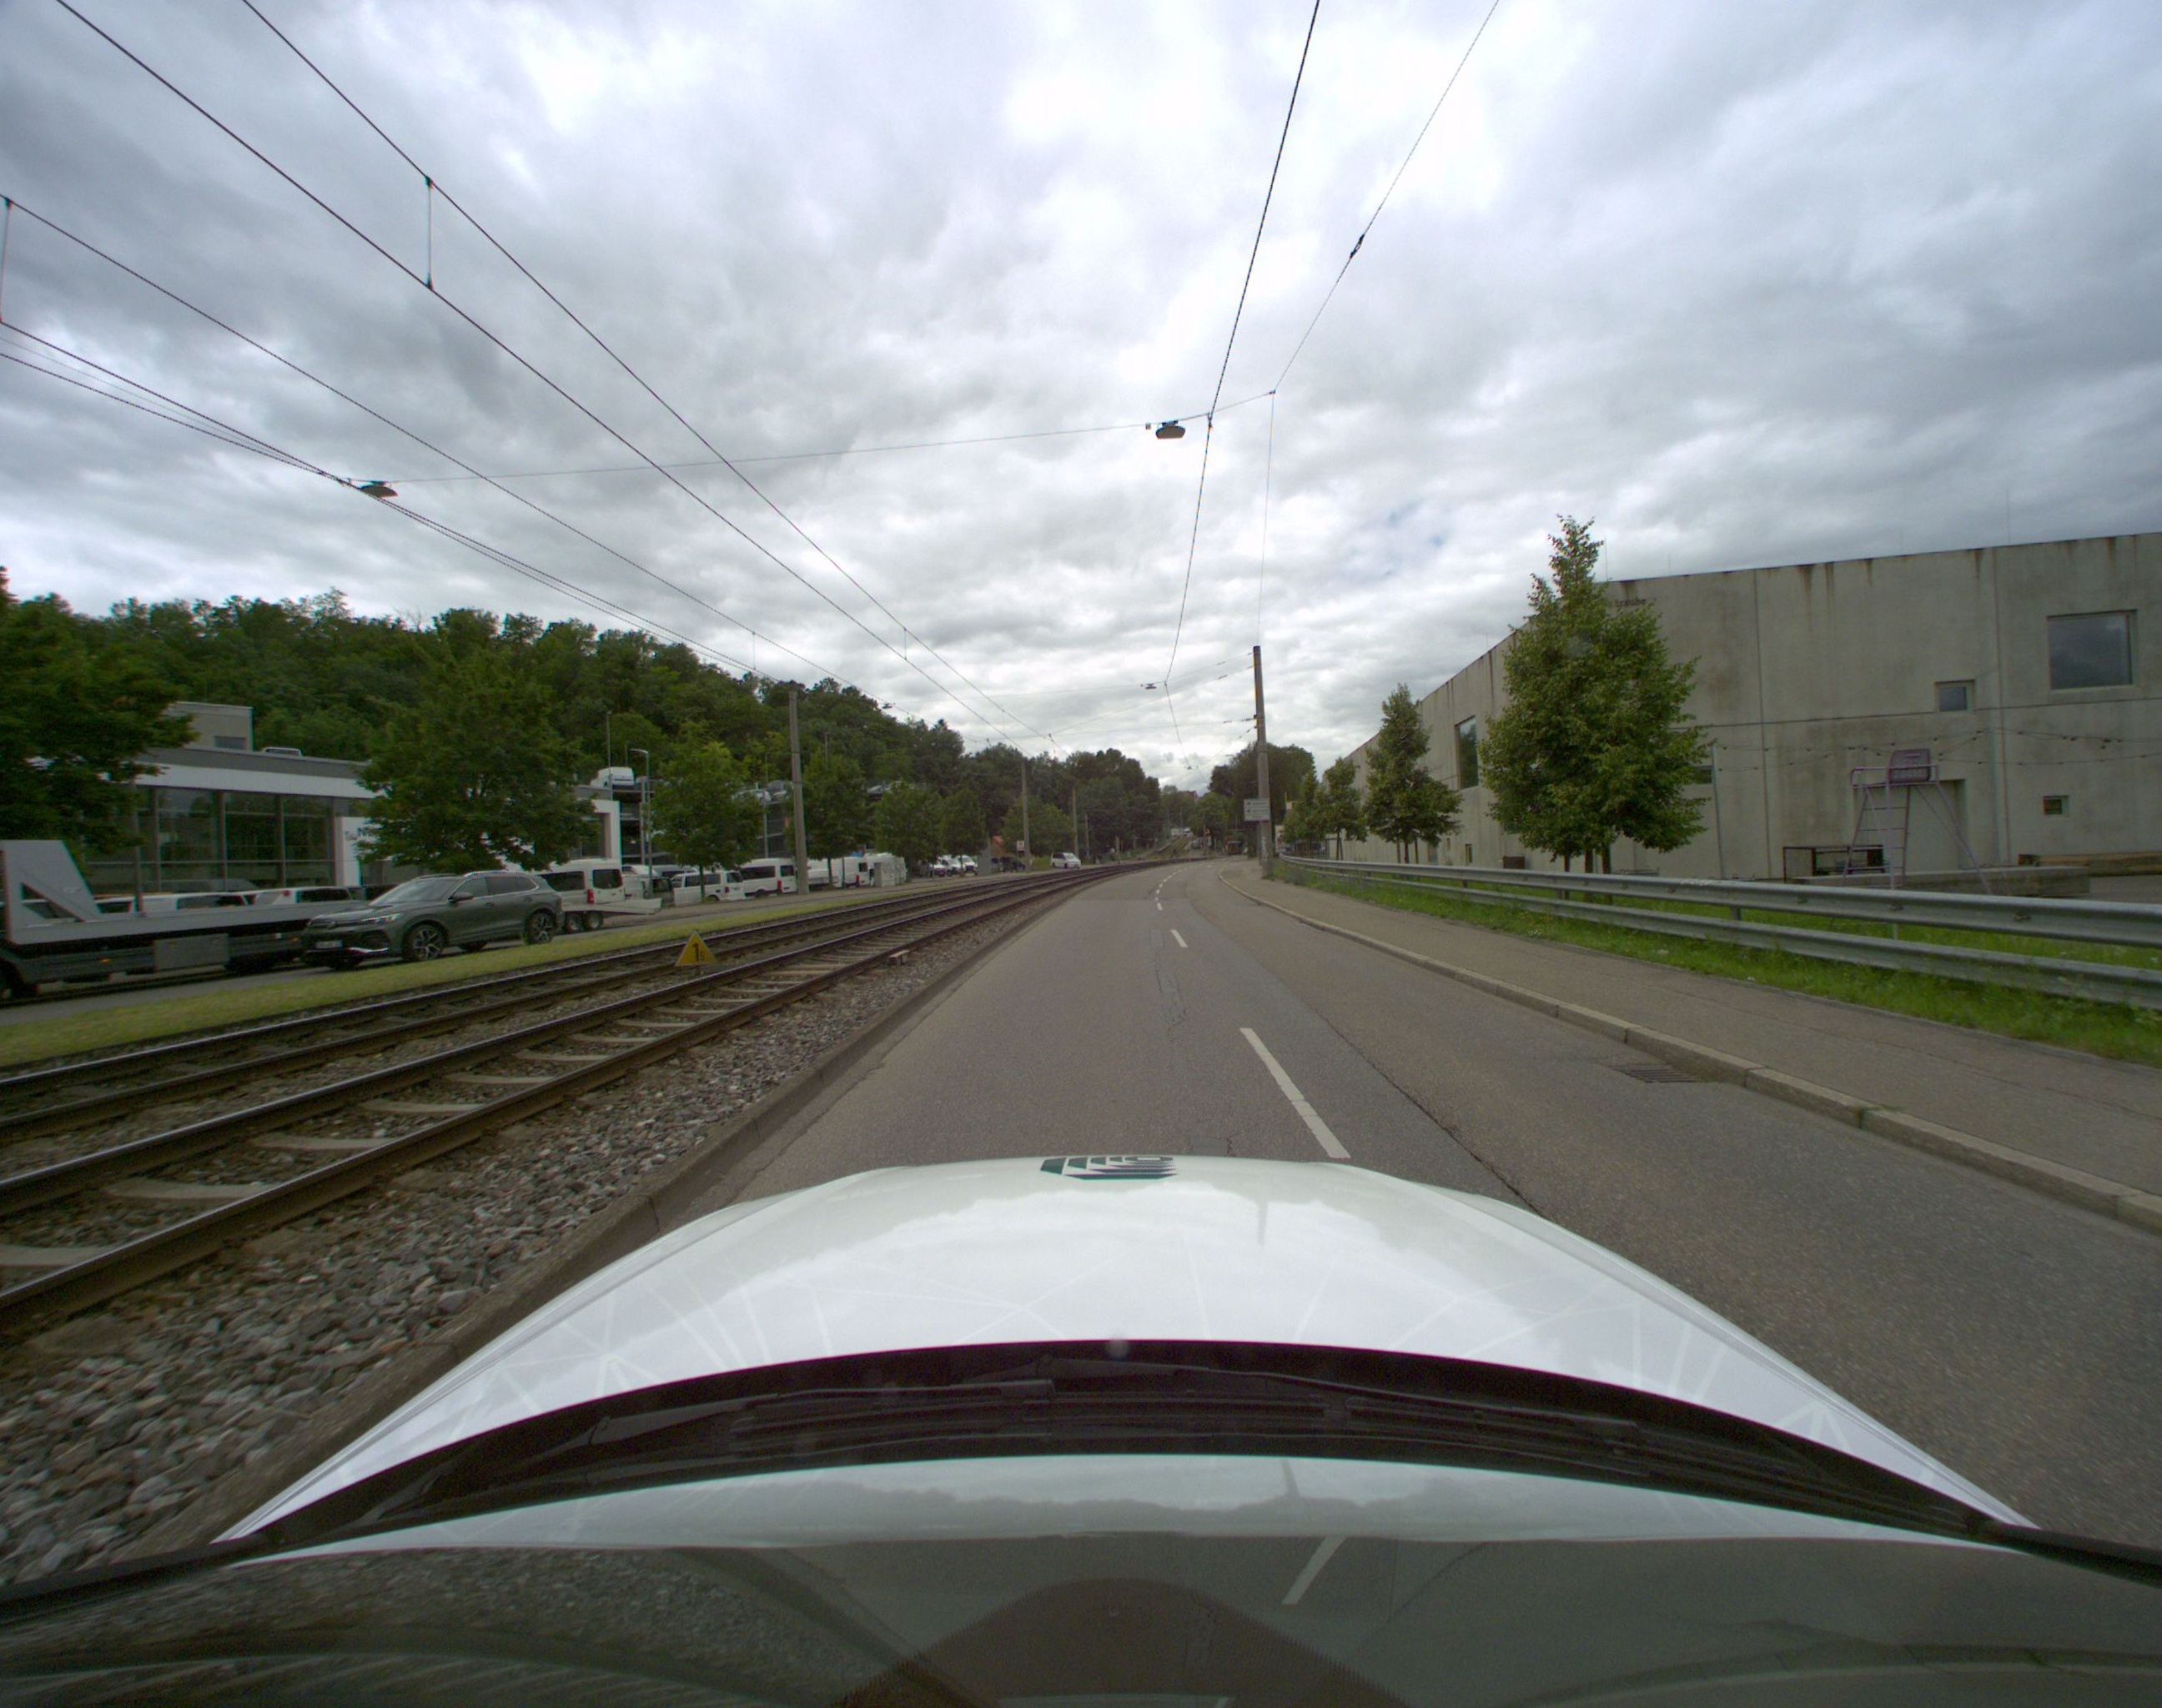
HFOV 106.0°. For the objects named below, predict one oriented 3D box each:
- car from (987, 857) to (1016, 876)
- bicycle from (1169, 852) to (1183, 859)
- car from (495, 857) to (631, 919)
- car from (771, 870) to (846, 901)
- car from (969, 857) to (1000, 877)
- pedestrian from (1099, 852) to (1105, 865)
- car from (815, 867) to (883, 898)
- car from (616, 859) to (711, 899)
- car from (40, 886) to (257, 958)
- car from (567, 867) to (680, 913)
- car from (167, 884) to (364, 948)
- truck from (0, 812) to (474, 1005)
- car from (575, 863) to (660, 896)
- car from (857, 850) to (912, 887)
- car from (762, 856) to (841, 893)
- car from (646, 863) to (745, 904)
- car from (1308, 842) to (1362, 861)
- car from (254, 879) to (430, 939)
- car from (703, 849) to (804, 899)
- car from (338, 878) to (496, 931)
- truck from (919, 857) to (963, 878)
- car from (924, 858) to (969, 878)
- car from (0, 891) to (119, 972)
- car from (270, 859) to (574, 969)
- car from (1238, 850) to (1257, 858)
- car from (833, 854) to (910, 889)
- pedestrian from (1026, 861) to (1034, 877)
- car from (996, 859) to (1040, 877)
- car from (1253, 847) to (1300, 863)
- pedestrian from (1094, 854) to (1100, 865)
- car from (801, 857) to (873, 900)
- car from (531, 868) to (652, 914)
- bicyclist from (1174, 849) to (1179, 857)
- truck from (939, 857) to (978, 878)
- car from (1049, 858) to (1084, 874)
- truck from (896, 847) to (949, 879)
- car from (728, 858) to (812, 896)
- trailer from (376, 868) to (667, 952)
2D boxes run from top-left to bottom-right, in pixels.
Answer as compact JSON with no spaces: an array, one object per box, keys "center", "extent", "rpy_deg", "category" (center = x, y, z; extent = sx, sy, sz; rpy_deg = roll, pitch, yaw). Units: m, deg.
[{"center":[-9.475,1.471,97.237],"extent":[1.981,2.013,5.144],"rpy_deg":[-2,0,10],"category":"car"},{"center":[21.165,0.297,181.672],"extent":[2.983,1.343,0.825],"rpy_deg":[-2,-1,-6],"category":"bicycle"},{"center":[-21.402,1.383,33.742],"extent":[4.466,2.311,2.132],"rpy_deg":[-2,0,12],"category":"car"},{"center":[-18.594,2.132,55.712],"extent":[4.341,1.910,2.008],"rpy_deg":[-2,0,7],"category":"car"},{"center":[-10.814,1.439,91.479],"extent":[1.981,2.013,4.932],"rpy_deg":[-2,0,10],"category":"car"},{"center":[3.198,0.682,123.397],"extent":[0.671,1.813,0.859],"rpy_deg":[-1,0,14],"category":"pedestrian"},{"center":[-17.086,2.103,60.108],"extent":[4.341,2.105,2.008],"rpy_deg":[-2,0,7],"category":"car"},{"center":[-30.953,1.822,60.584],"extent":[5.950,2.602,1.992],"rpy_deg":[-2,0,-18],"category":"car"},{"center":[-24.089,1.737,21.105],"extent":[3.959,1.618,2.007],"rpy_deg":[-2,0,13],"category":"car"},{"center":[-21.576,1.681,38.457],"extent":[4.336,1.947,2.011],"rpy_deg":[-2,0,12],"category":"car"},{"center":[-23.807,1.787,23.837],"extent":[4.335,1.618,2.011],"rpy_deg":[-2,0,13],"category":"car"},{"center":[-16.227,0.860,14.523],"extent":[2.740,2.741,9.242],"rpy_deg":[-4,-1,9],"category":"truck"},{"center":[-31.251,1.725,54.940],"extent":[4.809,2.014,2.007],"rpy_deg":[-2,-1,13],"category":"car"},{"center":[-17.068,1.205,71.061],"extent":[2.093,3.019,5.959],"rpy_deg":[-2,0,14],"category":"car"},{"center":[-18.094,1.313,52.795],"extent":[4.341,2.173,2.008],"rpy_deg":[-2,0,7],"category":"car"},{"center":[-20.658,1.562,43.709],"extent":[4.341,2.010,2.008],"rpy_deg":[-2,0,7],"category":"car"},{"center":[24.929,-0.281,79.895],"extent":[4.509,1.548,2.152],"rpy_deg":[-3,-2,-12],"category":"car"},{"center":[-23.848,1.754,26.352],"extent":[4.336,1.686,2.011],"rpy_deg":[-2,0,12],"category":"car"},{"center":[-19.165,1.144,47.762],"extent":[4.938,2.698,2.120],"rpy_deg":[-2,0,7],"category":"car"},{"center":[-23.418,1.764,28.782],"extent":[4.336,1.618,2.011],"rpy_deg":[-2,0,12],"category":"car"},{"center":[-18.878,1.806,109.946],"extent":[5.703,2.588,2.484],"rpy_deg":[-3,-1,36],"category":"truck"},{"center":[-14.456,1.526,87.459],"extent":[4.669,2.013,2.013],"rpy_deg":[-3,-1,38],"category":"car"},{"center":[-24.695,1.762,18.498],"extent":[3.959,1.618,2.007],"rpy_deg":[-2,0,13],"category":"car"},{"center":[-12.659,1.061,16.143],"extent":[1.984,1.739,4.540],"rpy_deg":[-4,-1,5],"category":"car"},{"center":[36.138,0.065,176.375],"extent":[4.279,1.532,1.671],"rpy_deg":[0,-5,-43],"category":"car"},{"center":[-16.904,1.431,65.754],"extent":[5.437,2.602,2.254],"rpy_deg":[-2,0,11],"category":"car"},{"center":[-5.323,1.613,85.541],"extent":[0.715,1.655,1.044],"rpy_deg":[0,0,4],"category":"pedestrian"},{"center":[-7.868,1.762,102.056],"extent":[5.082,2.013,2.148],"rpy_deg":[-2,0,-26],"category":"car"},{"center":[19.599,0.095,81.827],"extent":[4.179,1.443,1.774],"rpy_deg":[-2,0,40],"category":"car"},{"center":[2.444,0.800,123.495],"extent":[0.623,1.713,0.859],"rpy_deg":[-1,0,14],"category":"pedestrian"},{"center":[-17.341,1.717,57.901],"extent":[4.341,2.819,2.008],"rpy_deg":[-2,0,7],"category":"car"},{"center":[-21.756,1.637,36.273],"extent":[4.336,1.845,2.011],"rpy_deg":[-2,0,12],"category":"car"},{"center":[21.302,-0.193,181.694],"extent":[1.047,1.849,0.822],"rpy_deg":[-2,-1,-6],"category":"bicyclist"},{"center":[-16.906,1.890,112.175],"extent":[5.006,2.588,2.484],"rpy_deg":[-3,-1,36],"category":"truck"},{"center":[-1.830,1.487,103.125],"extent":[2.174,1.888,5.021],"rpy_deg":[0,0,-32],"category":"car"},{"center":[-16.697,0.968,85.485],"extent":[5.862,3.085,2.133],"rpy_deg":[-3,-1,41],"category":"truck"},{"center":[-19.341,1.428,50.771],"extent":[4.341,2.173,2.008],"rpy_deg":[-2,0,7],"category":"car"},{"center":[-14.887,1.390,22.504],"extent":[2.368,1.698,6.966],"rpy_deg":[-4,-1,9],"category":"trailer"}]
